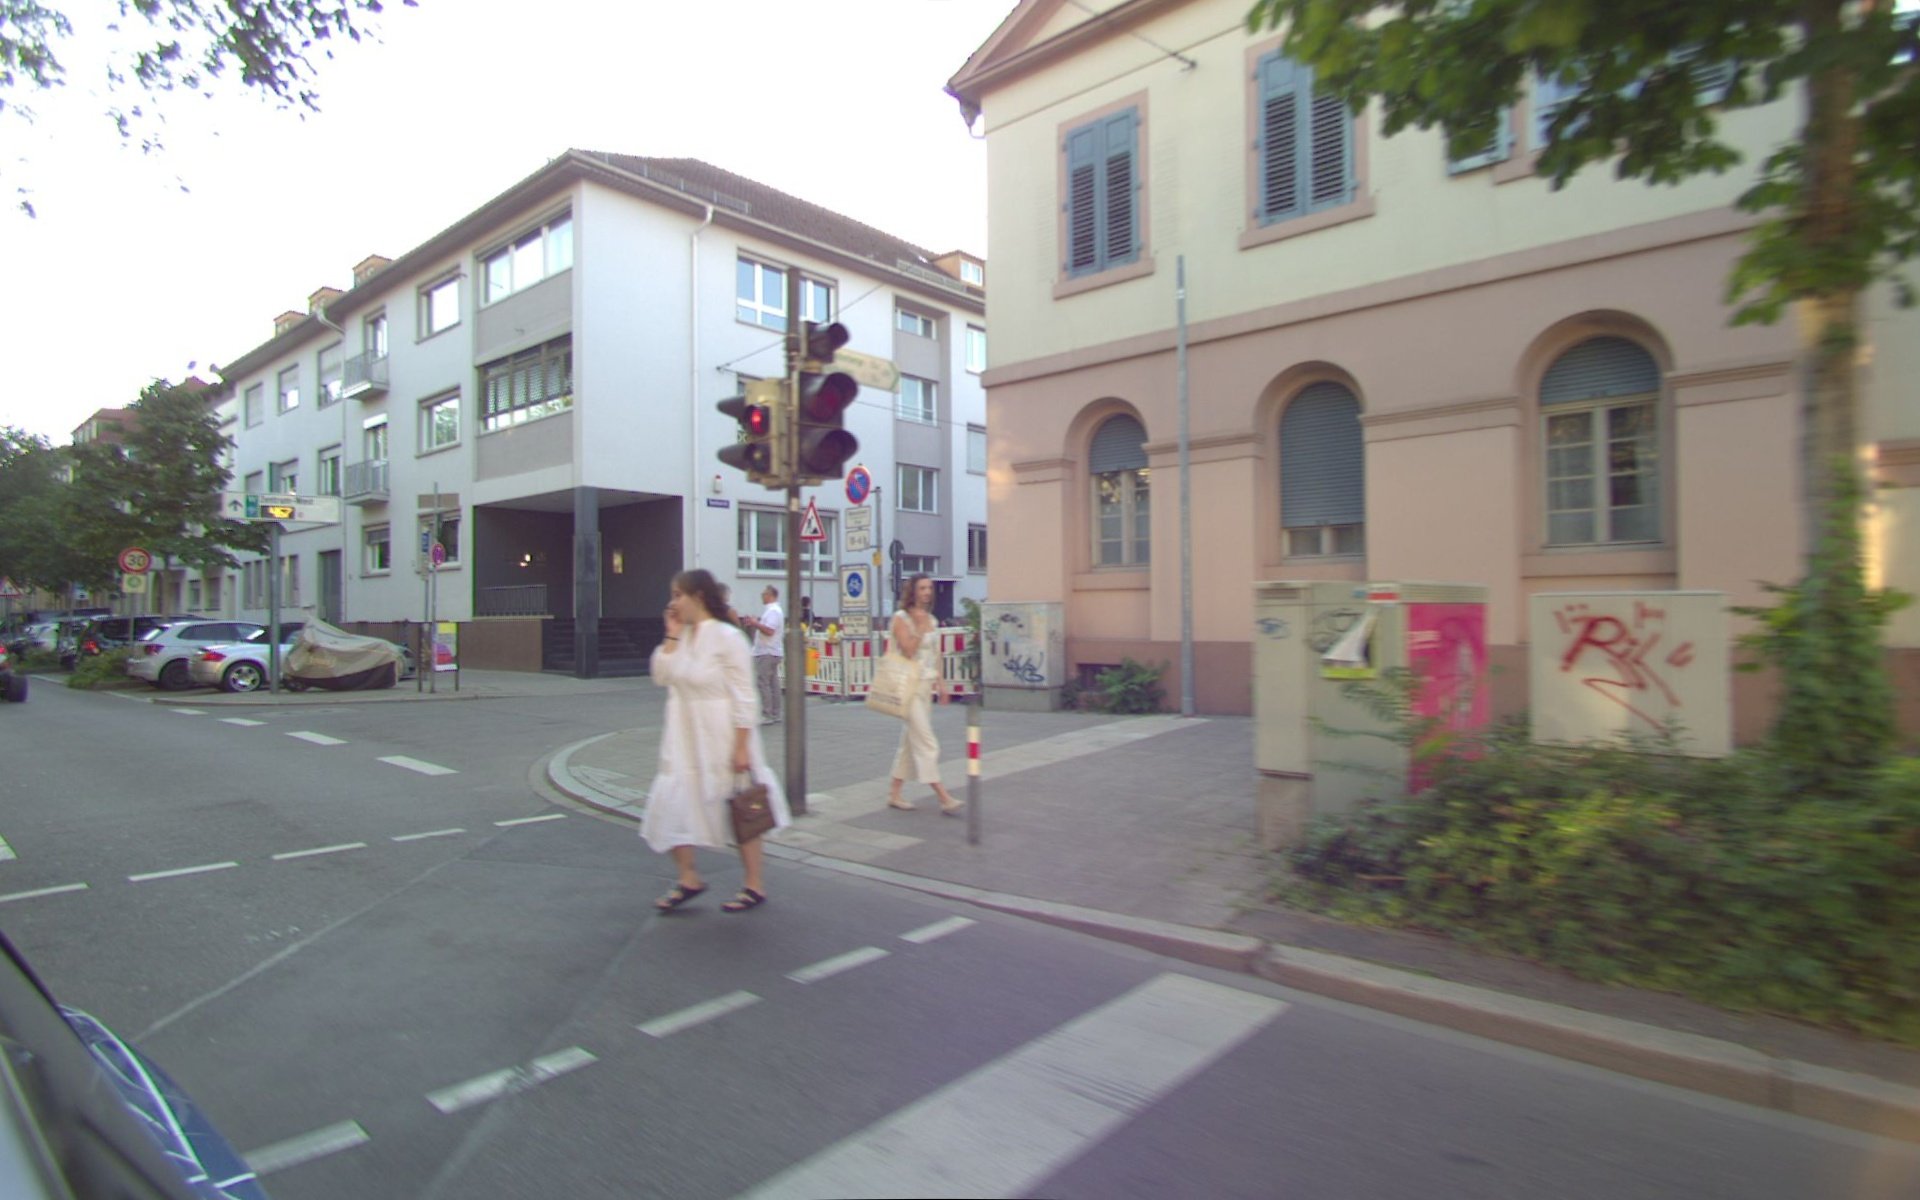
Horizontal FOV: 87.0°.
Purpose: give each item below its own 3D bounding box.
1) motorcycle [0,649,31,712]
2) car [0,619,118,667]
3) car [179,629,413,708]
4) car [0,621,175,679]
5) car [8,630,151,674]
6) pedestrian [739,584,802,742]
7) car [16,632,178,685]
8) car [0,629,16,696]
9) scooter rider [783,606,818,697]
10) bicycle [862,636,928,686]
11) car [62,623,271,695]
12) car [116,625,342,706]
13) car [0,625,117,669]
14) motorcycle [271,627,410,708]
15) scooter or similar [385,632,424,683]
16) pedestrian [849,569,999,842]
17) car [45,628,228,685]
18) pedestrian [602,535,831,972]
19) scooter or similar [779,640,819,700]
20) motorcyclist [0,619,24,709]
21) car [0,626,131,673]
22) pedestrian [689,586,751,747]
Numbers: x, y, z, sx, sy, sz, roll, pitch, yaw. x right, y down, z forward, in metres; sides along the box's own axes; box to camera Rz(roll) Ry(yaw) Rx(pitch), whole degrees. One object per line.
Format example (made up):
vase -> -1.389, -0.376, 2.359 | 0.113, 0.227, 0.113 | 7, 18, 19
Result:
motorcycle -> -17.823, 1.427, 18.239 | 2.395, 1.098, 1.298 | -2, -4, 41
car -> -40.328, 1.873, 44.351 | 2.188, 2.006, 4.939 | -2, -2, 40
car -> -13.518, 1.328, 20.722 | 1.845, 1.321, 3.697 | -2, 0, 45
car -> -30.751, 1.695, 35.592 | 2.155, 1.778, 4.618 | -2, -1, 40
car -> -32.570, 1.904, 37.508 | 1.854, 1.462, 3.805 | -3, -2, 41
pedestrian -> -2.325, 0.755, 12.416 | 0.546, 1.864, 0.613 | 0, -2, -35
car -> -28.935, 1.903, 34.000 | 1.781, 1.505, 3.983 | -2, 0, 44
car -> -24.313, 1.480, 24.127 | 4.266, 1.561, 1.860 | -2, -3, 36
scooter rider -> -3.232, 1.039, 20.514 | 0.490, 1.805, 0.872 | -1, -2, 6
bicycle -> -1.636, 1.523, 25.842 | 0.720, 1.154, 2.218 | -1, 0, 25
car -> -20.679, 1.477, 26.491 | 1.935, 1.644, 4.049 | -2, -1, 42
car -> -15.933, 1.357, 22.186 | 1.734, 1.469, 3.704 | -2, 0, 40
car -> -38.348, 1.957, 42.438 | 1.929, 1.584, 4.309 | -2, 1, 41
motorcycle -> -11.398, 1.214, 18.730 | 2.118, 1.430, 0.971 | 1, -2, -28
scooter or similar -> -14.459, 1.481, 26.332 | 0.509, 1.271, 1.421 | 0, -1, -44
pedestrian -> -0.276, 0.711, 7.290 | 0.779, 1.804, 0.773 | -3, 0, -21
car -> -24.578, 1.635, 30.309 | 1.754, 1.451, 4.032 | -2, 0, 42
pedestrian -> -1.180, 0.683, 4.961 | 0.789, 1.902, 0.763 | -2, -2, 29
scooter or similar -> -3.256, 1.409, 20.553 | 0.497, 1.153, 1.247 | 0, -1, 6
motorcyclist -> -17.816, 1.158, 18.240 | 1.077, 1.604, 1.266 | -2, -2, 41
car -> -36.089, 1.944, 40.571 | 1.823, 1.603, 4.112 | -2, 1, 41
pedestrian -> -2.877, 0.779, 12.123 | 0.546, 1.864, 0.613 | 1, -2, -34
